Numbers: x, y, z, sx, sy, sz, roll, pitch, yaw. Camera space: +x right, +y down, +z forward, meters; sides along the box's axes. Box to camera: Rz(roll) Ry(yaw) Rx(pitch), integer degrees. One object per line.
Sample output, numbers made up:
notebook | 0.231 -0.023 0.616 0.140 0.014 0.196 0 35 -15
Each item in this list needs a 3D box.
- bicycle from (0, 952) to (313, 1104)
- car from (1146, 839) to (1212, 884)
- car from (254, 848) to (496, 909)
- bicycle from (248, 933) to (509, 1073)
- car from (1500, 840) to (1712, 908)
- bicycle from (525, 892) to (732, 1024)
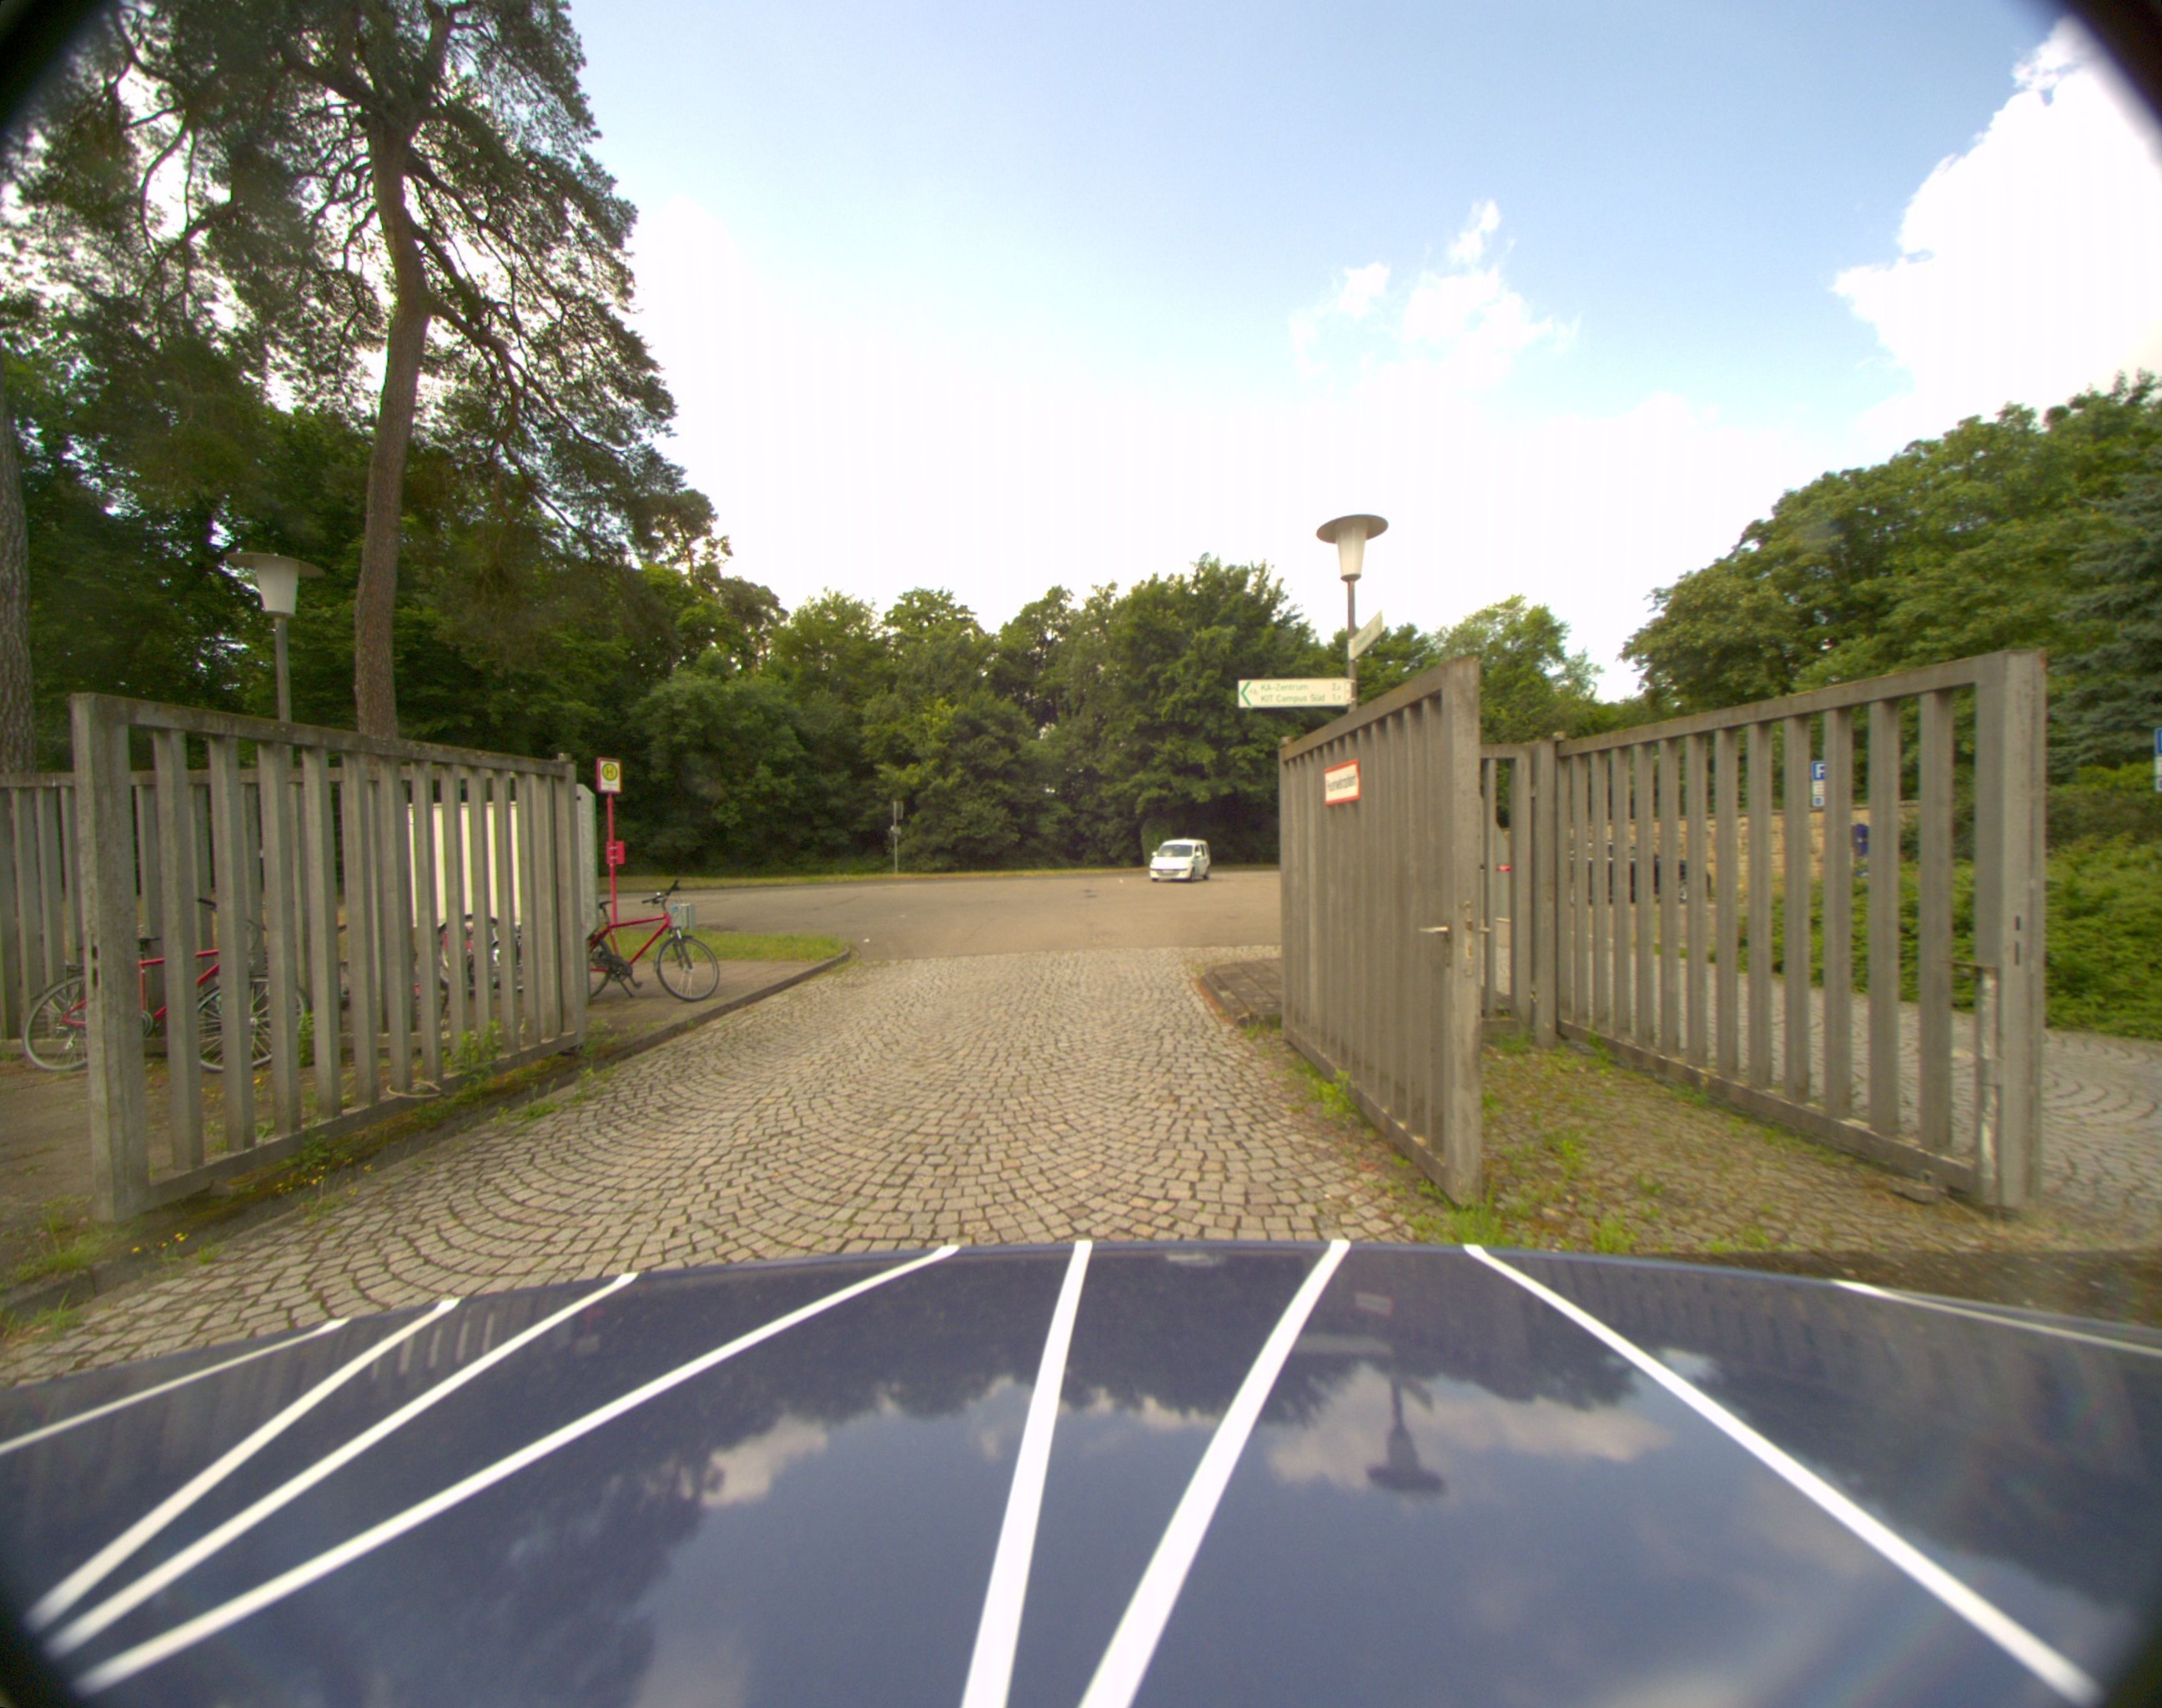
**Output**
bicycle | -6.717 1.211 5.403 1.868 0.934 0.503 0 1 -5
car | 4.311 0.258 32.804 1.863 1.749 4.154 1 3 22
car | -24.262 0.767 26.550 5.957 1.826 1.994 -2 1 -37
bicycle | -5.559 1.166 6.046 1.730 1.027 0.387 0 1 2
car | 13.017 0.476 19.073 3.995 1.509 1.802 -2 1 6
bicycle | -4.599 1.029 7.832 1.655 1.223 0.748 0 1 -7
